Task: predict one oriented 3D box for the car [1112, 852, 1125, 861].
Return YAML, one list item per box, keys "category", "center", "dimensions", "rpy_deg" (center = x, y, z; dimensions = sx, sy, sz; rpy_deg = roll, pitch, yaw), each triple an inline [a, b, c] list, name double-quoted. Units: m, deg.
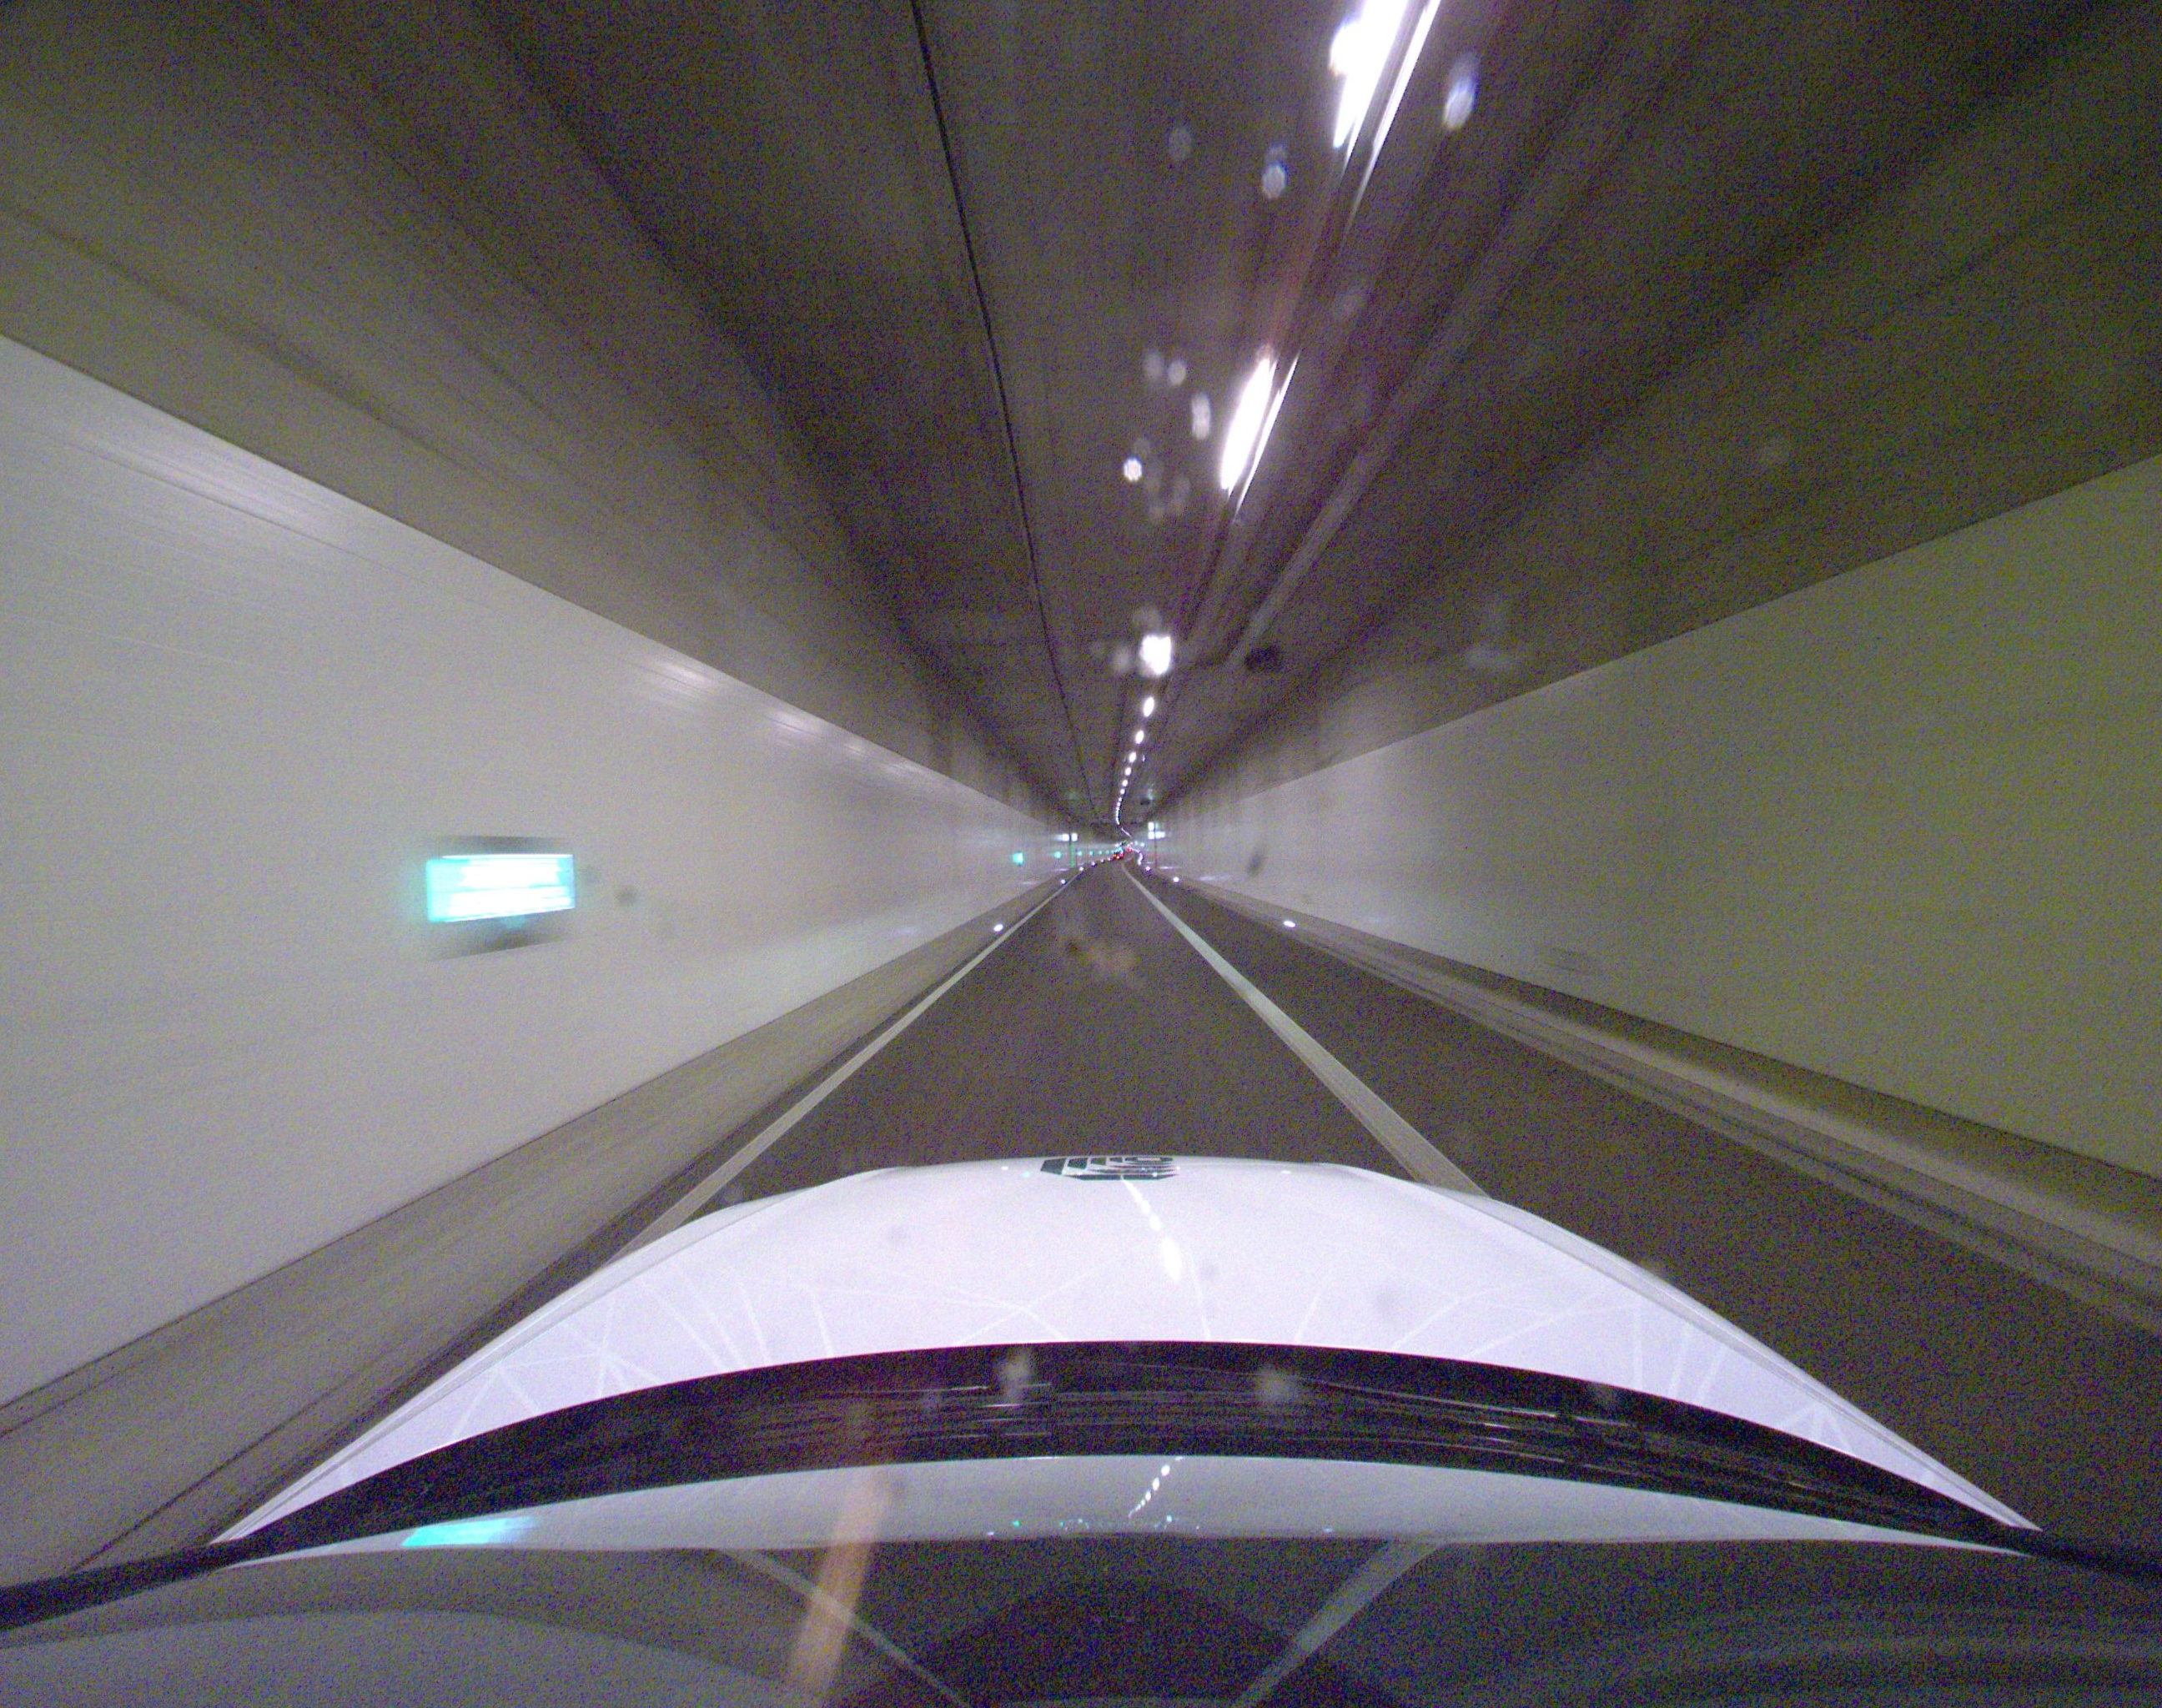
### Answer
- category: "car"
  center: [6.252, 0.447, 136.301]
  dimensions: [1.986, 1.420, 4.002]
  rpy_deg: [1, 0, 2]
